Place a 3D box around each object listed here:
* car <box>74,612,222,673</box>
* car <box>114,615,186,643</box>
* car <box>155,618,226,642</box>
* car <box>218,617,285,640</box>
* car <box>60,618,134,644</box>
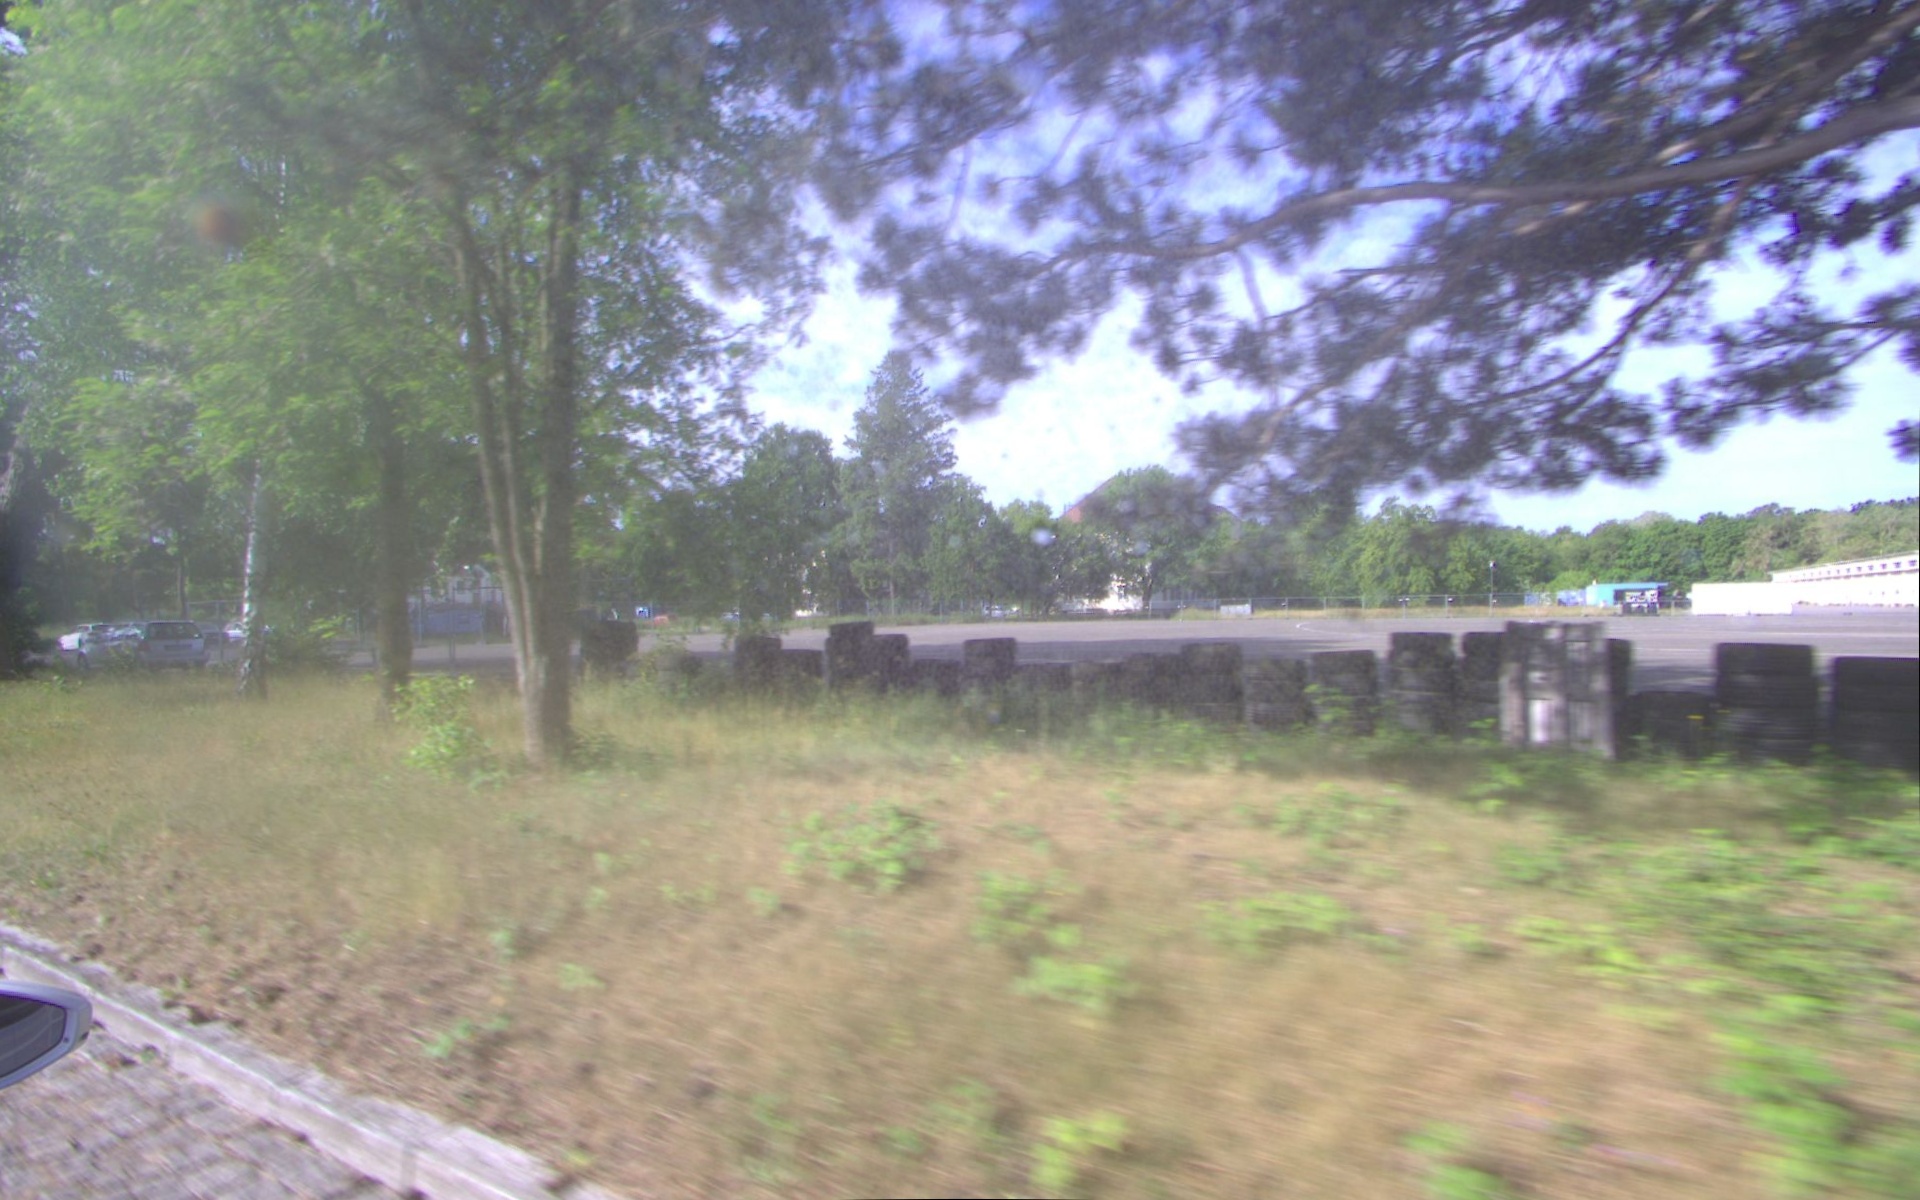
[{"bbox_3d":[-21.456,1.094,26.431,3.939,1.487,1.665,-1,0,29],"label":"car"},{"bbox_3d":[-46.292,1.665,57.244,4.266,1.496,1.729,-1,0,29],"label":"car"},{"bbox_3d":[-45.353,1.761,59.008,4.266,1.329,1.729,-1,0,29],"label":"car"},{"bbox_3d":[-43.941,1.744,62.093,4.266,1.329,1.728,-1,0,29],"label":"car"},{"bbox_3d":[-47.371,1.702,54.946,4.266,1.329,1.729,-1,0,29],"label":"car"}]
